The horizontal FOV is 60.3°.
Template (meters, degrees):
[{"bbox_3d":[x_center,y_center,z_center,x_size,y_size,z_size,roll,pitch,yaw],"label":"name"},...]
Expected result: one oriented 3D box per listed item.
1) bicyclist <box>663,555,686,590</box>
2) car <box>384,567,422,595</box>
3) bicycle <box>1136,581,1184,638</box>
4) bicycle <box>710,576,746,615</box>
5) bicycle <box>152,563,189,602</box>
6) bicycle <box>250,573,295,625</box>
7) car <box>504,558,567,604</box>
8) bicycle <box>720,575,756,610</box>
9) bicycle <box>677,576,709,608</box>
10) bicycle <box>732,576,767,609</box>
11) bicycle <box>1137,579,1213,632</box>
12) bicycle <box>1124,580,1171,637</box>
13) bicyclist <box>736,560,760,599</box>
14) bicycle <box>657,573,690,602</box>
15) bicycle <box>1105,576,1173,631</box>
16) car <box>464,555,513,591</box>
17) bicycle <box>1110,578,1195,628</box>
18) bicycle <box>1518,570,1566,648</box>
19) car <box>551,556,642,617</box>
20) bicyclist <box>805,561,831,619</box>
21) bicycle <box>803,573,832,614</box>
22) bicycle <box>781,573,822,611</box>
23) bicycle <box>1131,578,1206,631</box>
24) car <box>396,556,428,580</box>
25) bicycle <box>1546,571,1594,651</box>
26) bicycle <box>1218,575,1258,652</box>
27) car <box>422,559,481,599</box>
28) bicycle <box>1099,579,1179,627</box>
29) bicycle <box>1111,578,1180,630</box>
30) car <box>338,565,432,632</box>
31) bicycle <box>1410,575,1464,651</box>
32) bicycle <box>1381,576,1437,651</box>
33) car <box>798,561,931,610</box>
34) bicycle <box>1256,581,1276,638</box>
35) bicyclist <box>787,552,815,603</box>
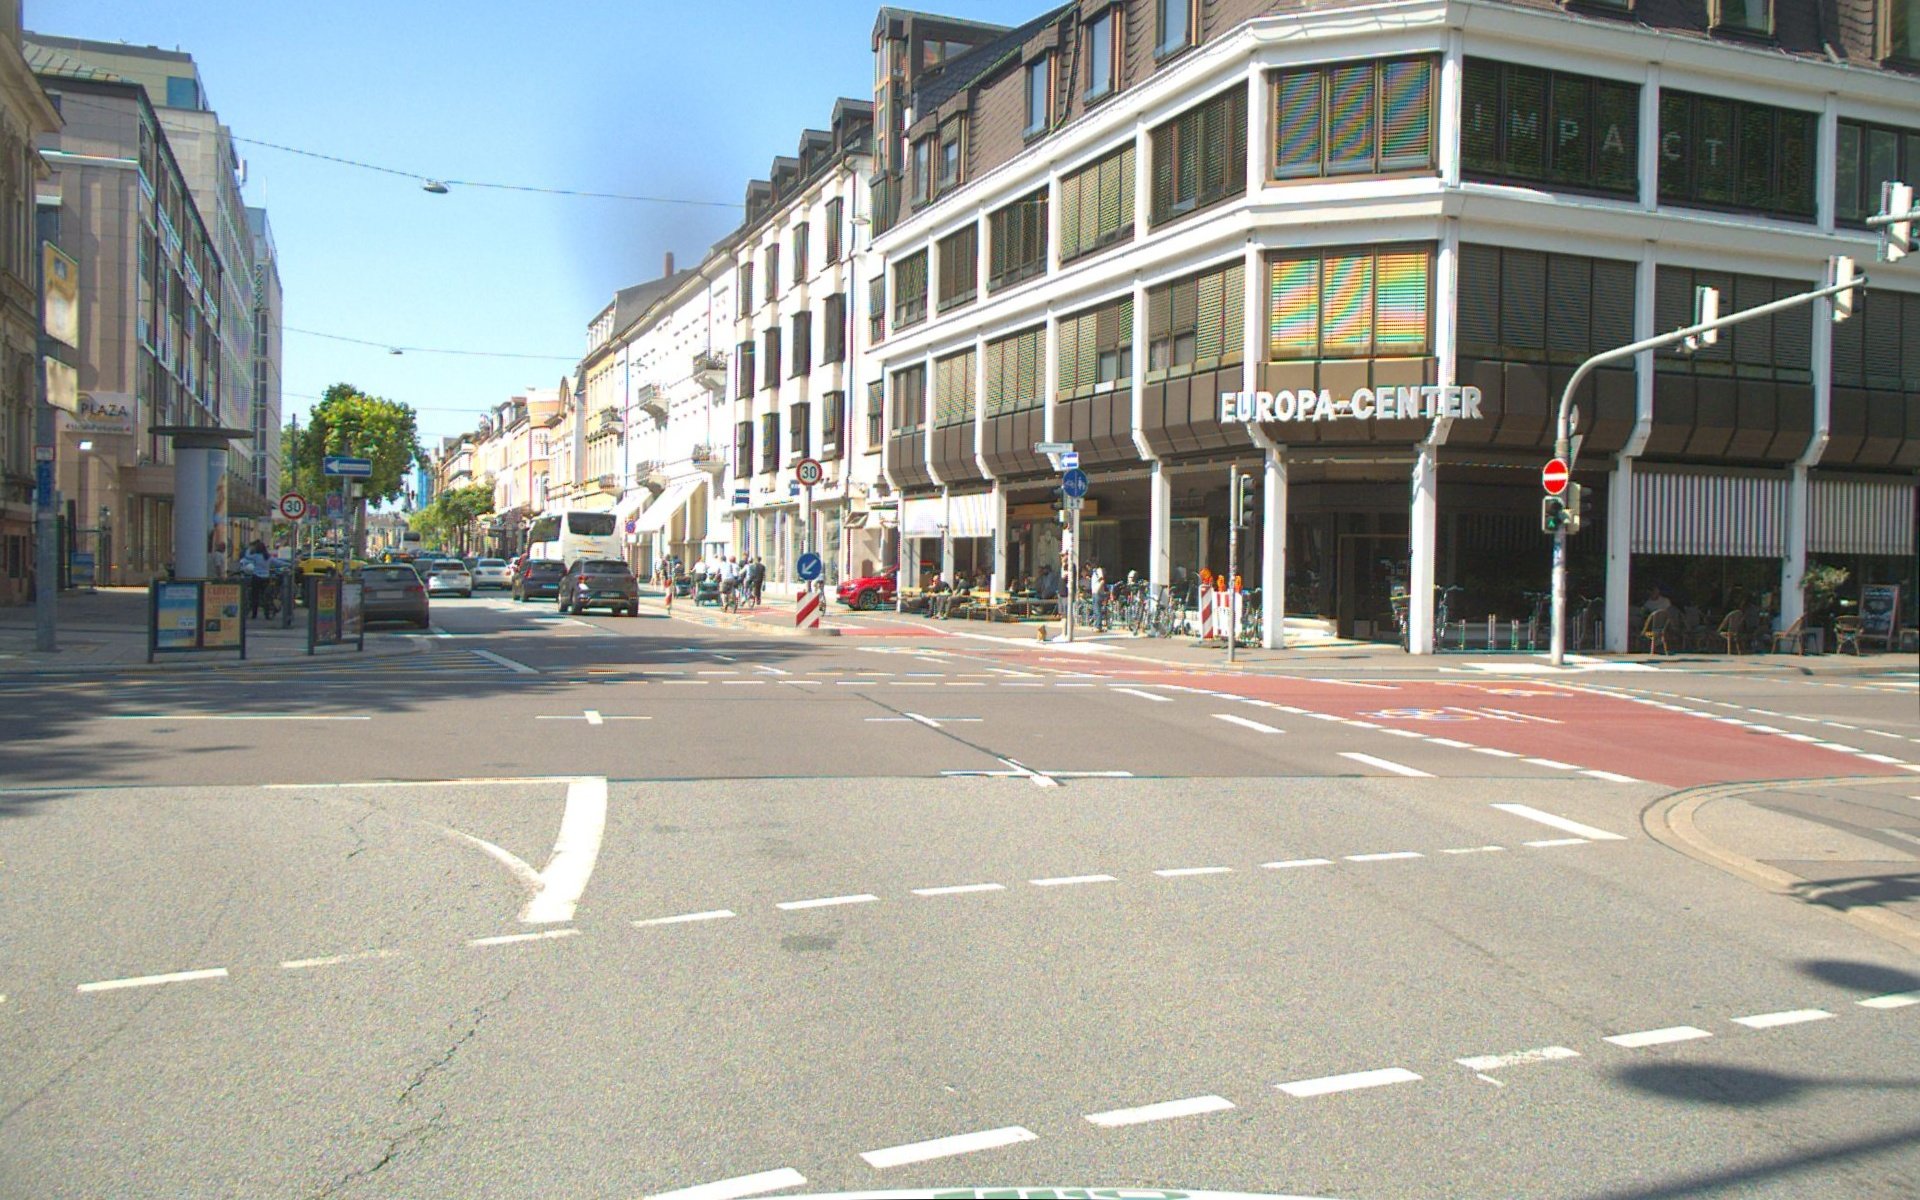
[{"bbox_3d":[-11.623,-1.127,67.323,0.776,1.403,0.718,1,0,-23],"label":"bicyclist"},{"bbox_3d":[-31.444,-1.045,93.299,1.836,1.466,3.974,0,-1,-21],"label":"car"},{"bbox_3d":[4.290,0.187,35.607,0.272,1.140,2.236,0,1,-13],"label":"bicycle"},{"bbox_3d":[-7.350,-0.163,52.329,0.655,1.140,2.230,2,1,-20],"label":"bicycle"},{"bbox_3d":[-22.816,-0.507,47.775,0.486,1.080,1.997,1,1,-40],"label":"bicycle"},{"bbox_3d":[-15.599,-0.009,37.560,0.421,1.140,2.238,2,-1,-10],"label":"bicycle"},{"bbox_3d":[-15.145,-0.668,58.895,1.806,1.554,3.978,-1,0,-19],"label":"car"},{"bbox_3d":[-7.356,-0.265,54.813,0.611,1.118,2.337,1,1,-22],"label":"bicycle"},{"bbox_3d":[-9.734,-0.298,60.226,0.611,1.118,2.337,1,1,-22],"label":"bicycle"},{"bbox_3d":[-7.225,-0.266,56.631,0.611,1.118,2.337,1,1,-22],"label":"bicycle"},{"bbox_3d":[4.764,0.113,36.588,1.688,1.140,0.276,-1,1,-15],"label":"bicycle"},{"bbox_3d":[4.008,0.161,35.467,0.272,1.140,2.236,0,1,-13],"label":"bicycle"},{"bbox_3d":[-7.264,-0.698,56.726,0.612,1.319,0.861,1,0,-22],"label":"bicyclist"},{"bbox_3d":[-11.702,-0.523,67.513,0.826,1.118,2.337,1,1,-22],"label":"bicycle"},{"bbox_3d":[4.076,0.091,37.698,1.519,1.228,0.276,1,1,-15],"label":"bicycle"},{"bbox_3d":[-21.836,-1.246,76.509,1.807,1.554,3.975,-1,0,-21],"label":"car"},{"bbox_3d":[4.492,0.065,38.570,2.210,1.140,0.275,0,1,-29],"label":"bicycle"},{"bbox_3d":[11.382,0.159,32.314,0.519,1.447,1.963,1,2,30],"label":"bicycle"},{"bbox_3d":[-10.115,-0.385,45.805,1.807,1.554,3.973,2,0,-22],"label":"car"},{"bbox_3d":[-4.122,-0.301,47.913,0.681,1.654,0.834,0,1,-9],"label":"bicyclist"},{"bbox_3d":[-4.152,-0.188,48.068,0.584,1.140,1.795,0,1,-13],"label":"bicycle"},{"bbox_3d":[-4.947,-0.257,51.417,0.612,1.118,2.336,1,1,-23],"label":"bicycle"},{"bbox_3d":[4.666,0.092,36.971,1.688,1.140,0.276,-1,1,-15],"label":"bicycle"},{"bbox_3d":[-34.059,-2.001,102.669,1.718,1.466,3.976,0,2,-21],"label":"car"},{"bbox_3d":[11.707,0.181,31.715,0.519,1.447,1.963,1,2,30],"label":"bicycle"},{"bbox_3d":[5.612,0.261,33.336,0.368,1.079,1.477,0,20,25],"label":"bicycle"},{"bbox_3d":[-19.855,-0.827,64.515,1.837,1.466,3.972,1,0,-23],"label":"car"},{"bbox_3d":[4.246,0.073,39.135,2.216,1.116,0.274,0,1,-35],"label":"bicycle"},{"bbox_3d":[4.198,0.095,37.352,1.544,1.140,0.276,-1,1,-15],"label":"bicycle"},{"bbox_3d":[-13.012,-0.070,37.488,1.907,1.378,4.226,0,2,-19],"label":"car"},{"bbox_3d":[8.978,0.226,31.095,0.519,1.339,1.856,1,2,30],"label":"bicycle"},{"bbox_3d":[8.508,0.229,31.309,0.519,1.339,1.963,1,2,30],"label":"bicycle"},{"bbox_3d":[-3.119,-0.453,53.852,3.984,1.521,1.831,0,-1,-20],"label":"car"},{"bbox_3d":[6.063,0.181,32.743,0.301,1.084,1.473,0,2,14],"label":"bicycle"},{"bbox_3d":[-4.945,-0.697,51.414,0.612,1.556,0.863,1,0,-23],"label":"bicyclist"}]
